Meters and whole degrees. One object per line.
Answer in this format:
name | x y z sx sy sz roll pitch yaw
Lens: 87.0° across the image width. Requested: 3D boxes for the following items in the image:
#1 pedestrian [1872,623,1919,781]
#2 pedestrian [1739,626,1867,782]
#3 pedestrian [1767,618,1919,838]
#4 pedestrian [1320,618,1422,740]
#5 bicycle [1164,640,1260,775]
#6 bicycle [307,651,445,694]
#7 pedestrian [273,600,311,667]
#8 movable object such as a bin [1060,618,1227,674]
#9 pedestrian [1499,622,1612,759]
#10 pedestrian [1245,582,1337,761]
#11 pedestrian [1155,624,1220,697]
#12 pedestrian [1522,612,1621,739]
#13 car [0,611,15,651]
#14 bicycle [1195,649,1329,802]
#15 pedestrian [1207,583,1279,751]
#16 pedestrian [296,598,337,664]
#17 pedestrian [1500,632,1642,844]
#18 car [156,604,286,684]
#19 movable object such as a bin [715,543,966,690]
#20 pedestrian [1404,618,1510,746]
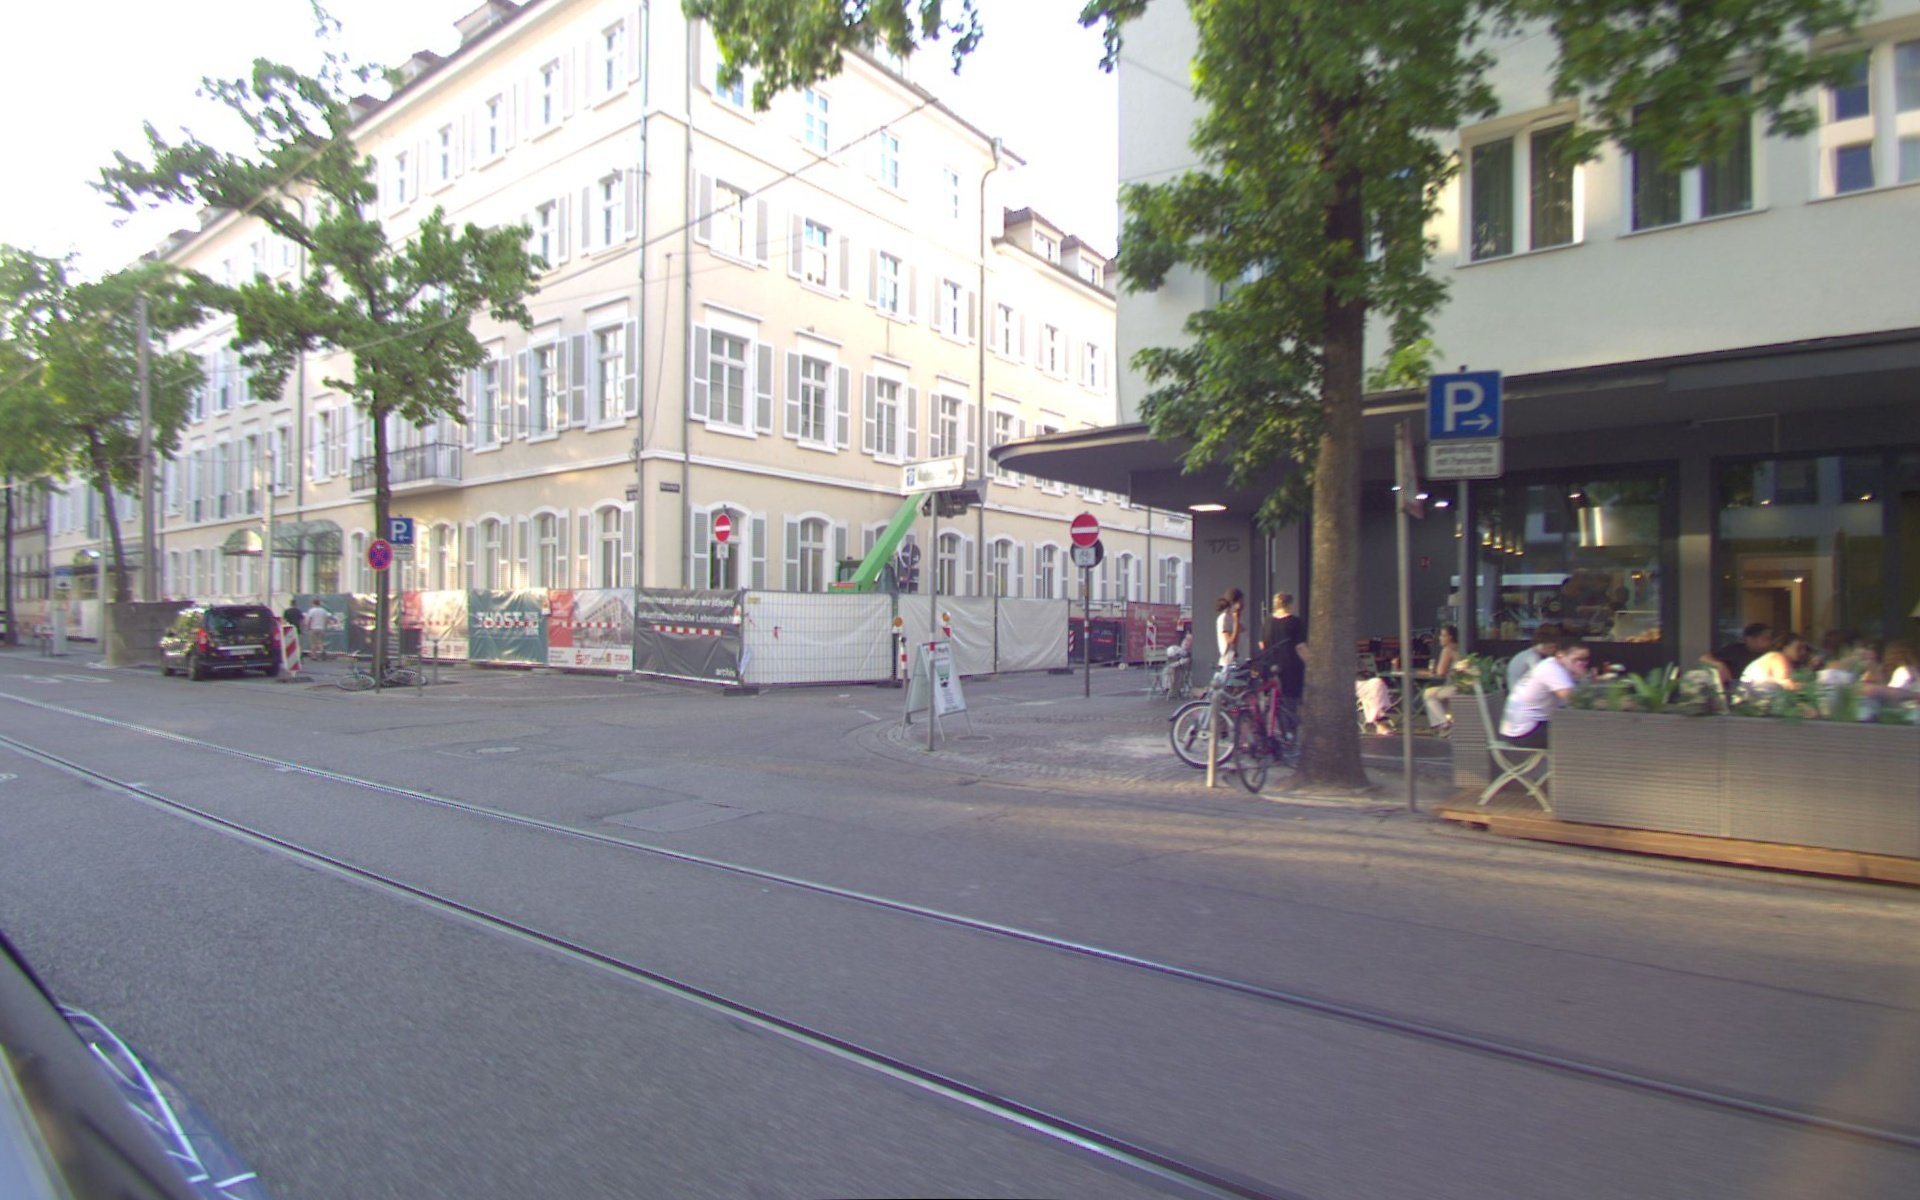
pedestrian | 8.552 0.875 8.813 0.881 1.330 0.838 0 0 41
pedestrian | 7.848 0.920 9.440 0.881 1.330 0.876 0 0 40
pedestrian | 6.052 0.815 6.839 0.924 1.372 0.709 0 -1 39
pedestrian | 4.838 0.893 11.901 0.881 1.330 0.876 0 0 40
bicycle | 2.499 1.019 10.208 0.771 1.147 1.861 0 0 9
bicycle | -11.772 1.442 20.477 1.326 0.711 2.055 -1 -1 31
pedestrian | -19.205 0.943 29.086 0.768 1.899 0.671 0 1 38
movable object such as a bin | 6.500 1.538 34.949 2.894 1.677 7.205 0 -2 36
pedestrian | 6.262 0.907 10.637 0.881 1.330 0.876 0 0 40
pedestrian | 3.360 0.704 10.322 0.632 1.754 0.782 0 0 -5
pedestrian | 3.891 1.023 17.343 0.827 1.228 0.708 0 -2 -15
pedestrian | 6.733 0.799 11.143 0.841 1.330 0.616 0 0 41
car | -43.706 1.359 44.892 4.098 1.751 1.975 -1 -1 37
bicycle | 2.748 1.055 9.072 0.625 1.147 1.845 0 0 34
pedestrian | 3.060 0.703 10.999 0.634 1.754 0.780 0 0 7
pedestrian | -18.972 0.890 29.858 0.879 1.899 0.750 0 1 38
pedestrian | 4.394 0.937 7.276 0.792 1.388 0.686 0 -1 39
car | -18.435 1.042 25.191 3.876 1.778 1.750 -1 1 41
movable object such as a bin | -2.520 0.399 22.951 2.638 2.894 5.499 0 -1 35
pedestrian | 5.537 0.878 11.274 0.881 1.330 0.838 0 0 41
